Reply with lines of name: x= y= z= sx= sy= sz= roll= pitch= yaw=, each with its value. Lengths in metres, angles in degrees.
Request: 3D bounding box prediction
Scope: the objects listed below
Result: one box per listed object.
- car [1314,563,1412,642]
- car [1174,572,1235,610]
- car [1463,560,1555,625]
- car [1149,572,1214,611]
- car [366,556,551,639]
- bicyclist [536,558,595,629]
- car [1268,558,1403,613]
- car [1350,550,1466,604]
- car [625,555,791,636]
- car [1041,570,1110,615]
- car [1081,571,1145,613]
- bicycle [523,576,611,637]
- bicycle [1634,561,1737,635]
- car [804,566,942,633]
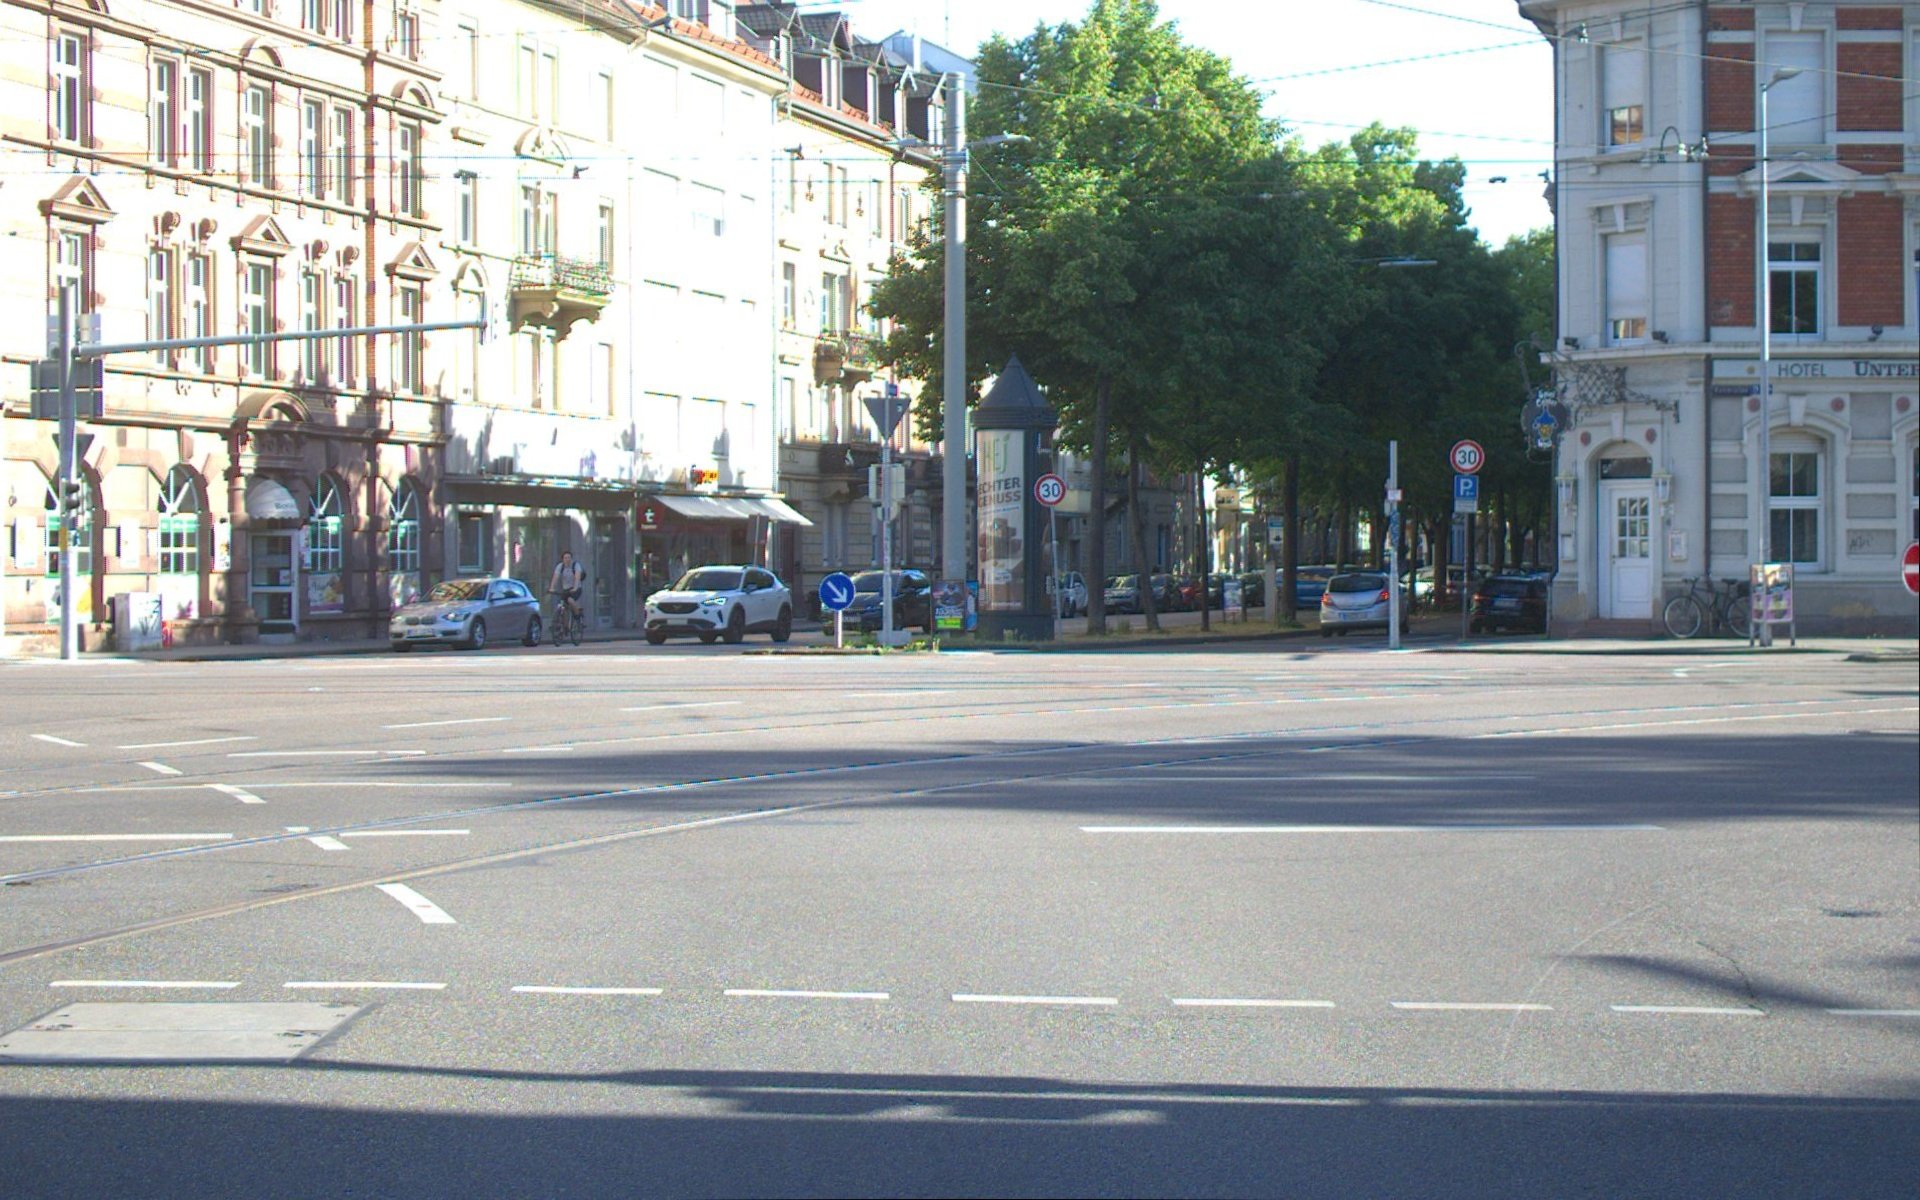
car: x=9.287 y=0.040 z=79.027 sx=1.675 sy=1.750 sz=3.756 roll=0 pitch=1 yaw=15
car: x=9.716 y=-0.360 z=136.406 sx=1.742 sy=1.393 sz=4.121 roll=3 pitch=1 yaw=13
car: x=13.163 y=-0.164 z=82.307 sx=1.652 sy=1.519 sz=3.750 roll=0 pitch=0 yaw=17
car: x=8.498 y=-0.325 z=131.628 sx=1.742 sy=1.393 sz=4.121 roll=3 pitch=1 yaw=13
car: x=-9.780 y=-0.077 z=67.398 sx=2.098 sy=1.540 sz=4.361 roll=0 pitch=1 yaw=14
bicyclist: x=-7.720 y=-0.133 z=67.307 sx=0.794 sy=1.370 sz=1.107 roll=0 pitch=1 yaw=14
car: x=12.585 y=-0.478 z=115.295 sx=4.115 sy=1.640 sz=1.744 roll=3 pitch=1 yaw=21
car: x=17.399 y=-0.889 z=133.445 sx=4.115 sy=1.912 sz=1.744 roll=3 pitch=1 yaw=21
car: x=-4.882 y=-0.109 z=67.184 sx=2.098 sy=1.494 sz=3.998 roll=0 pitch=1 yaw=14
car: x=3.913 y=-0.266 z=115.825 sx=1.741 sy=1.393 sz=4.122 roll=3 pitch=1 yaw=9
car: x=5.499 y=-0.314 z=122.803 sx=1.741 sy=1.393 sz=4.122 roll=3 pitch=1 yaw=9
bicycle: x=-7.685 y=0.112 z=67.369 sx=0.751 sy=1.131 sz=2.808 roll=0 pitch=1 yaw=14
bicycle: x=12.060 y=-0.039 z=57.155 sx=1.639 sy=1.218 sz=0.606 roll=0 pitch=1 yaw=16
car: x=-1.958 y=-0.036 z=78.810 sx=2.098 sy=1.442 sz=4.361 roll=0 pitch=1 yaw=14
